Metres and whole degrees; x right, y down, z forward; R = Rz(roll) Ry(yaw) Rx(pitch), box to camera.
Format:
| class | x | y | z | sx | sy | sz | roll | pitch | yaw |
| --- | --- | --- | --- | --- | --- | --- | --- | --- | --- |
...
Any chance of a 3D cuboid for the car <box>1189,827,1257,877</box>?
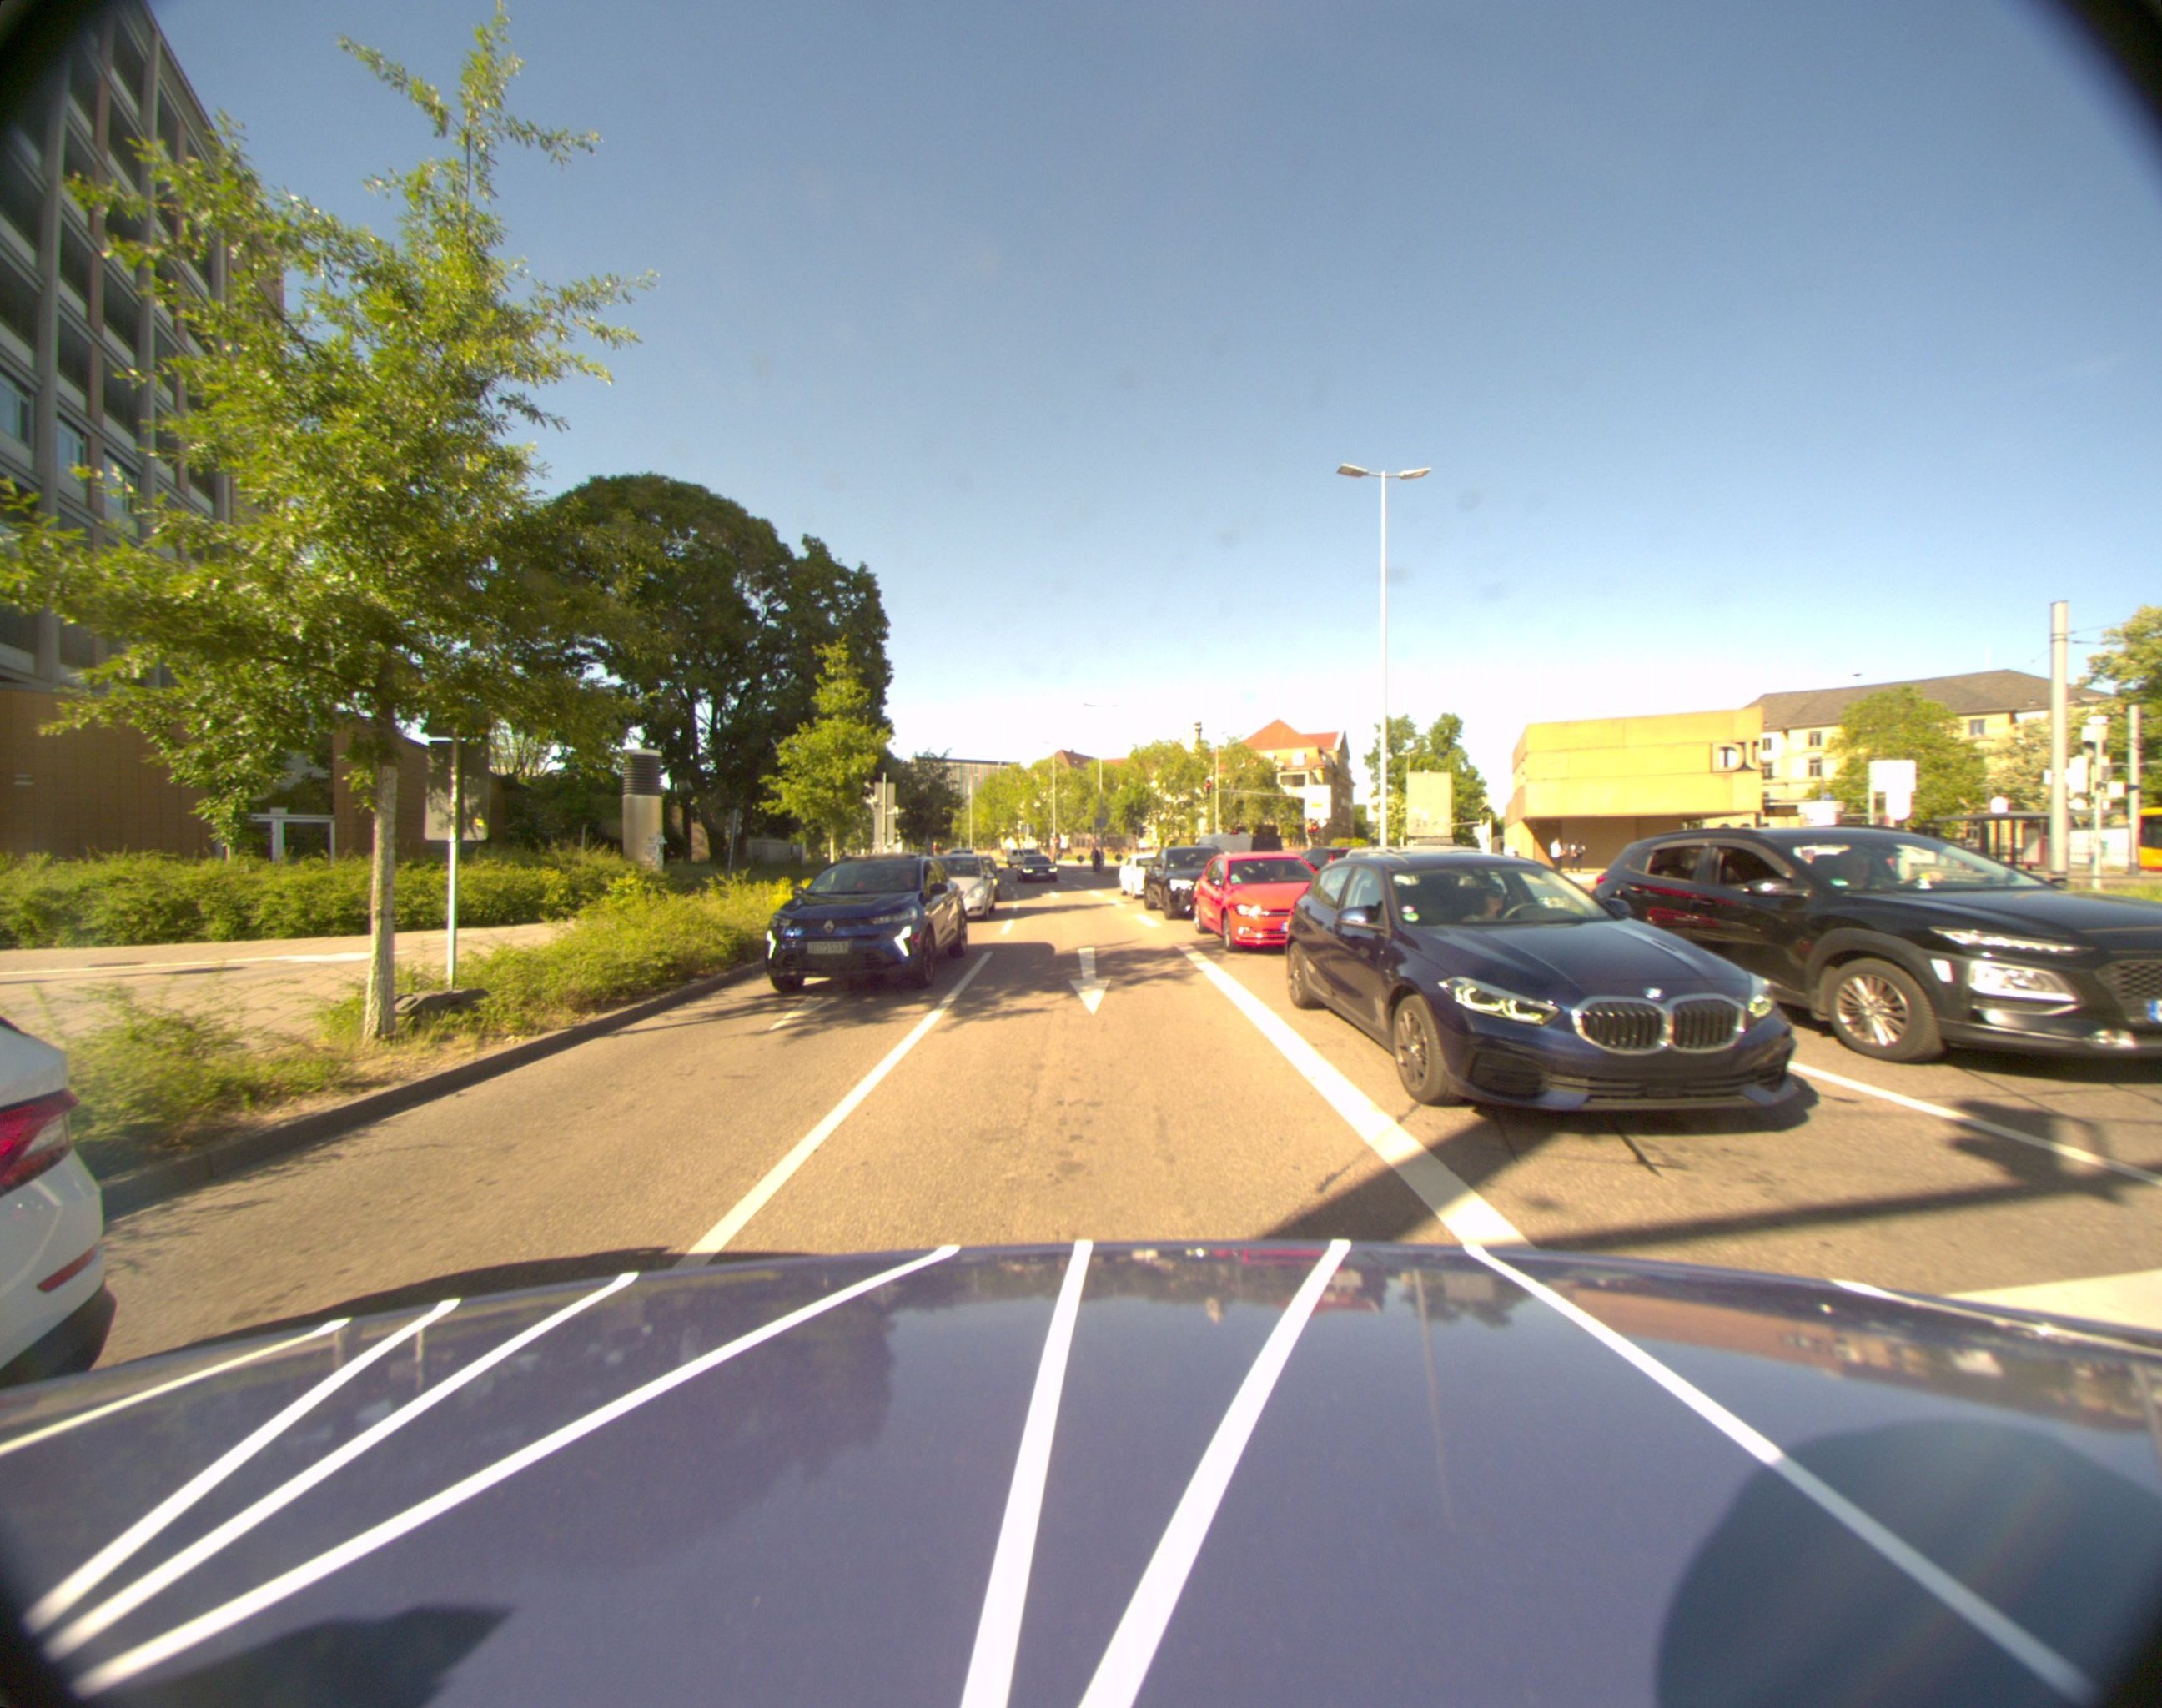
| class | x | y | z | sx | sy | sz | roll | pitch | yaw |
| --- | --- | --- | --- | --- | --- | --- | --- | --- | --- |
| car | 8.220 | -0.136 | 44.576 | 2.244 | 2.665 | 5.301 | -2 | 1 | -9 |

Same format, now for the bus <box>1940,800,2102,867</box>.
| class | x | y | z | sx | sy | sz | roll | pitch | yaw |
| --- | --- | --- | --- | --- | --- | --- | --- | --- | --- |
| bus | 47.496 | -0.951 | 38.750 | 2.135 | 3.028 | 8.574 | -2 | 0 | 29 |

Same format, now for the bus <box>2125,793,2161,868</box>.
| class | x | y | z | sx | sy | sz | roll | pitch | yaw |
| --- | --- | --- | --- | --- | --- | --- | --- | --- | --- |
| bus | 45.146 | -0.818 | 27.865 | 2.843 | 3.104 | 11.836 | -2 | 2 | 26 |

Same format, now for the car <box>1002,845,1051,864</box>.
| class | x | y | z | sx | sy | sz | roll | pitch | yaw |
| --- | --- | --- | --- | --- | --- | --- | --- | --- | --- |
| car | -5.571 | 0.098 | 76.521 | 2.414 | 1.793 | 5.223 | -3 | 1 | -37 |

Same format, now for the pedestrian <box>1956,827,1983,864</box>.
| class | x | y | z | sx | sy | sz | roll | pitch | yaw |
| --- | --- | --- | --- | --- | --- | --- | --- | --- | --- |
| pedestrian | 46.364 | -0.443 | 39.649 | 0.689 | 1.851 | 0.730 | -1 | 1 | 31 |

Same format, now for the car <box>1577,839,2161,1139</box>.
| class | x | y | z | sx | sy | sz | roll | pitch | yaw |
| --- | --- | --- | --- | --- | --- | --- | --- | --- | --- |
| car | 5.952 | 0.685 | 5.920 | 1.686 | 1.523 | 3.915 | -2 | 1 | 2 |

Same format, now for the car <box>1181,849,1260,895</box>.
| class | x | y | z | sx | sy | sz | roll | pitch | yaw |
| --- | --- | --- | --- | --- | --- | --- | --- | --- | --- |
| car | 4.958 | 0.576 | 27.609 | 1.824 | 1.450 | 4.659 | -2 | 1 | -2 |

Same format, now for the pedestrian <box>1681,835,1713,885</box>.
| class | x | y | z | sx | sy | sz | roll | pitch | yaw |
| --- | --- | --- | --- | --- | --- | --- | --- | --- | --- |
| pedestrian | 22.892 | 0.220 | 28.235 | 0.857 | 1.818 | 0.703 | -1 | 1 | 36 |

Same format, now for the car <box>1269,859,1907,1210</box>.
| class | x | y | z | sx | sy | sz | roll | pitch | yaw |
| --- | --- | --- | --- | --- | --- | --- | --- | --- | --- |
| car | 2.780 | 0.831 | 5.423 | 1.886 | 1.450 | 4.012 | -2 | 1 | 1 |

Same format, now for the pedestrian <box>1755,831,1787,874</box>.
| class | x | y | z | sx | sy | sz | roll | pitch | yaw |
| --- | --- | --- | --- | --- | --- | --- | --- | --- | --- |
| pedestrian | 29.666 | -0.059 | 32.675 | 0.834 | 1.818 | 0.860 | -2 | 1 | 31 |

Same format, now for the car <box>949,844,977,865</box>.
| class | x | y | z | sx | sy | sz | roll | pitch | yaw |
| --- | --- | --- | --- | --- | --- | --- | --- | --- | --- |
| car | -9.015 | 0.044 | 58.426 | 1.922 | 1.450 | 4.665 | -2 | 1 | -7 |

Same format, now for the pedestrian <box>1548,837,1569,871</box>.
| class | x | y | z | sx | sy | sz | roll | pitch | yaw |
| --- | --- | --- | --- | --- | --- | --- | --- | --- | --- |
| pedestrian | 23.944 | 0.005 | 38.091 | 0.748 | 1.702 | 0.703 | -1 | 2 | 41 |

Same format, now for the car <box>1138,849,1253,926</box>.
| class | x | y | z | sx | sy | sz | roll | pitch | yaw |
| --- | --- | --- | --- | --- | --- | --- | --- | --- | --- |
| car | 2.532 | 0.682 | 17.837 | 1.760 | 1.526 | 4.119 | -2 | 1 | -4 |

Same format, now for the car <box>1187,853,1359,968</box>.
| class | x | y | z | sx | sy | sz | roll | pitch | yaw |
| --- | --- | --- | --- | --- | --- | --- | --- | --- | --- |
| car | 2.863 | 0.761 | 12.218 | 1.713 | 1.450 | 4.012 | -2 | 1 | 0 |

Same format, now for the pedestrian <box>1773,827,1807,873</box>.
| class | x | y | z | sx | sy | sz | roll | pitch | yaw |
| --- | --- | --- | --- | --- | --- | --- | --- | --- | --- |
| pedestrian | 29.016 | -0.177 | 31.107 | 0.834 | 1.818 | 0.860 | -2 | 1 | 31 |

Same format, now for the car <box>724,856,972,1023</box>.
| class | x | y | z | sx | sy | sz | roll | pitch | yaw |
| --- | --- | --- | --- | --- | --- | --- | --- | --- | --- |
| car | -2.717 | 0.896 | 9.935 | 1.886 | 1.620 | 4.012 | -2 | 1 | 1 |

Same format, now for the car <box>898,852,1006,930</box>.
| class | x | y | z | sx | sy | sz | roll | pitch | yaw |
| --- | --- | --- | --- | --- | --- | --- | --- | --- | --- |
| car | -3.084 | 0.822 | 18.977 | 1.886 | 1.620 | 4.012 | -2 | 1 | 1 |

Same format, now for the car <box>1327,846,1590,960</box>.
| class | x | y | z | sx | sy | sz | roll | pitch | yaw |
| --- | --- | --- | --- | --- | --- | --- | --- | --- | --- |
| car | 5.787 | 0.627 | 12.434 | 1.824 | 1.450 | 4.659 | -2 | 1 | -2 |

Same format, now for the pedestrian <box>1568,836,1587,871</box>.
| class | x | y | z | sx | sy | sz | roll | pitch | yaw |
| --- | --- | --- | --- | --- | --- | --- | --- | --- | --- |
| pedestrian | 24.246 | -0.026 | 37.072 | 0.643 | 1.702 | 0.703 | -1 | 2 | 41 |

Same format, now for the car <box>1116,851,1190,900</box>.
| class | x | y | z | sx | sy | sz | roll | pitch | yaw |
| --- | --- | --- | --- | --- | --- | --- | --- | --- | --- |
| car | 2.334 | 0.658 | 25.634 | 1.760 | 1.447 | 4.120 | -2 | 1 | -4 |

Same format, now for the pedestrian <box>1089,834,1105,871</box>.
| class | x | y | z | sx | sy | sz | roll | pitch | yaw |
| --- | --- | --- | --- | --- | --- | --- | --- | --- | --- |
| pedestrian | 1.064 | -0.090 | 51.233 | 0.875 | 2.406 | 0.889 | -2 | 1 | -6 |

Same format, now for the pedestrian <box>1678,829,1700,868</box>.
| class | x | y | z | sx | sy | sz | roll | pitch | yaw |
| --- | --- | --- | --- | --- | --- | --- | --- | --- | --- |
| pedestrian | 32.795 | -0.291 | 40.982 | 0.857 | 2.064 | 0.611 | -1 | 1 | 36 |

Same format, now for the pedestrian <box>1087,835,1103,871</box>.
| class | x | y | z | sx | sy | sz | roll | pitch | yaw |
| --- | --- | --- | --- | --- | --- | --- | --- | --- | --- |
| pedestrian | 0.949 | -0.095 | 52.295 | 0.875 | 2.421 | 0.889 | -2 | 1 | -6 |

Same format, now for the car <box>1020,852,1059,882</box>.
| class | x | y | z | sx | sy | sz | roll | pitch | yaw |
| --- | --- | --- | --- | --- | --- | --- | --- | --- | --- |
| car | -2.230 | 0.669 | 41.076 | 1.921 | 1.450 | 3.864 | -2 | 1 | -3 |
